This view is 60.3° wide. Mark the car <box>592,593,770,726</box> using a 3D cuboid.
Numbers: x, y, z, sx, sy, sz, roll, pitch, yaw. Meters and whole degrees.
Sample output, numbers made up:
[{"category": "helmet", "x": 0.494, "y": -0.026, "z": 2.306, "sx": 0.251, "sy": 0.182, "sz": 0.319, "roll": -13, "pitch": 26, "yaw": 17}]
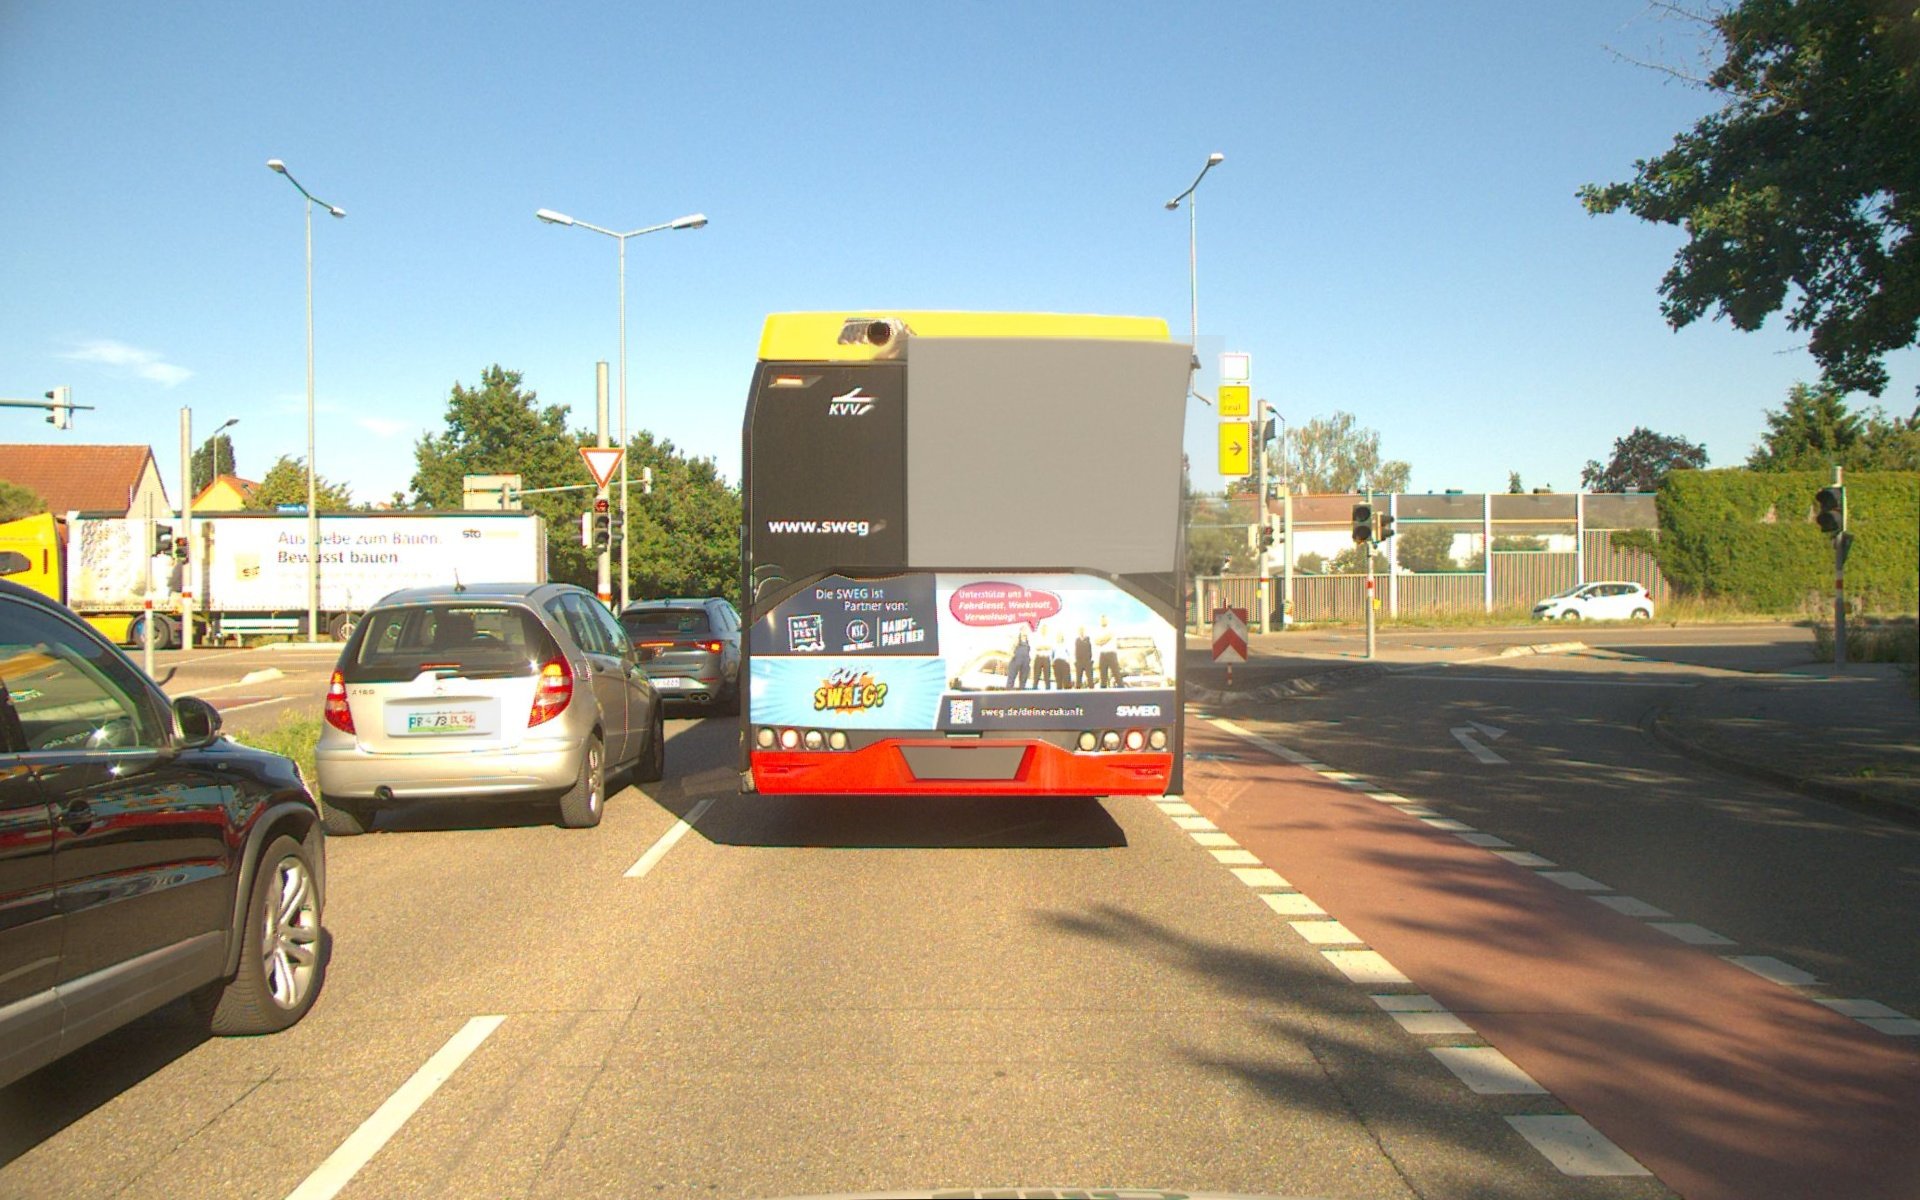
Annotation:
[{"category": "car", "x": -3.453, "y": 0.679, "z": 21.060, "sx": 1.658, "sy": 1.484, "sz": 3.750, "roll": -2, "pitch": 0, "yaw": -1}]

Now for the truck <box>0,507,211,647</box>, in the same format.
[{"category": "truck", "x": -26.571, "y": -0.688, "z": 50.001, "sx": 6.352, "sy": 4.083, "sz": 3.435, "roll": 0, "pitch": 0, "yaw": -7}]

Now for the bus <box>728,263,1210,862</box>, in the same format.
[{"category": "bus", "x": 0.017, "y": -0.251, "z": 14.895, "sx": 2.589, "sy": 3.222, "sz": 11.860, "roll": 0, "pitch": 0, "yaw": 0}]

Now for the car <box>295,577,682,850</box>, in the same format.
[{"category": "car", "x": -3.221, "y": 0.684, "z": 12.132, "sx": 1.725, "sy": 1.617, "sz": 3.999, "roll": -2, "pitch": 0, "yaw": -1}]

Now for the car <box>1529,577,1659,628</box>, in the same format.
[{"category": "car", "x": 21.305, "y": 0.081, "z": 55.658, "sx": 3.735, "sy": 1.641, "sz": 1.704, "roll": 1, "pitch": 0, "yaw": -7}]

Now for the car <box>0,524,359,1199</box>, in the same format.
[{"category": "car", "x": -3.148, "y": 0.690, "z": 4.305, "sx": 1.736, "sy": 1.682, "sz": 3.999, "roll": -2, "pitch": 0, "yaw": -1}]

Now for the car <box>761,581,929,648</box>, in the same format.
[{"category": "car", "x": -3.004, "y": 0.359, "z": 43.048, "sx": 4.006, "sy": 1.552, "sz": 1.758, "roll": -2, "pitch": 0, "yaw": -20}]

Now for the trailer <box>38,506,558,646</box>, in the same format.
[{"category": "trailer", "x": -19.932, "y": -0.737, "z": 50.839, "sx": 14.376, "sy": 4.083, "sz": 3.435, "roll": 0, "pitch": 0, "yaw": -7}]
